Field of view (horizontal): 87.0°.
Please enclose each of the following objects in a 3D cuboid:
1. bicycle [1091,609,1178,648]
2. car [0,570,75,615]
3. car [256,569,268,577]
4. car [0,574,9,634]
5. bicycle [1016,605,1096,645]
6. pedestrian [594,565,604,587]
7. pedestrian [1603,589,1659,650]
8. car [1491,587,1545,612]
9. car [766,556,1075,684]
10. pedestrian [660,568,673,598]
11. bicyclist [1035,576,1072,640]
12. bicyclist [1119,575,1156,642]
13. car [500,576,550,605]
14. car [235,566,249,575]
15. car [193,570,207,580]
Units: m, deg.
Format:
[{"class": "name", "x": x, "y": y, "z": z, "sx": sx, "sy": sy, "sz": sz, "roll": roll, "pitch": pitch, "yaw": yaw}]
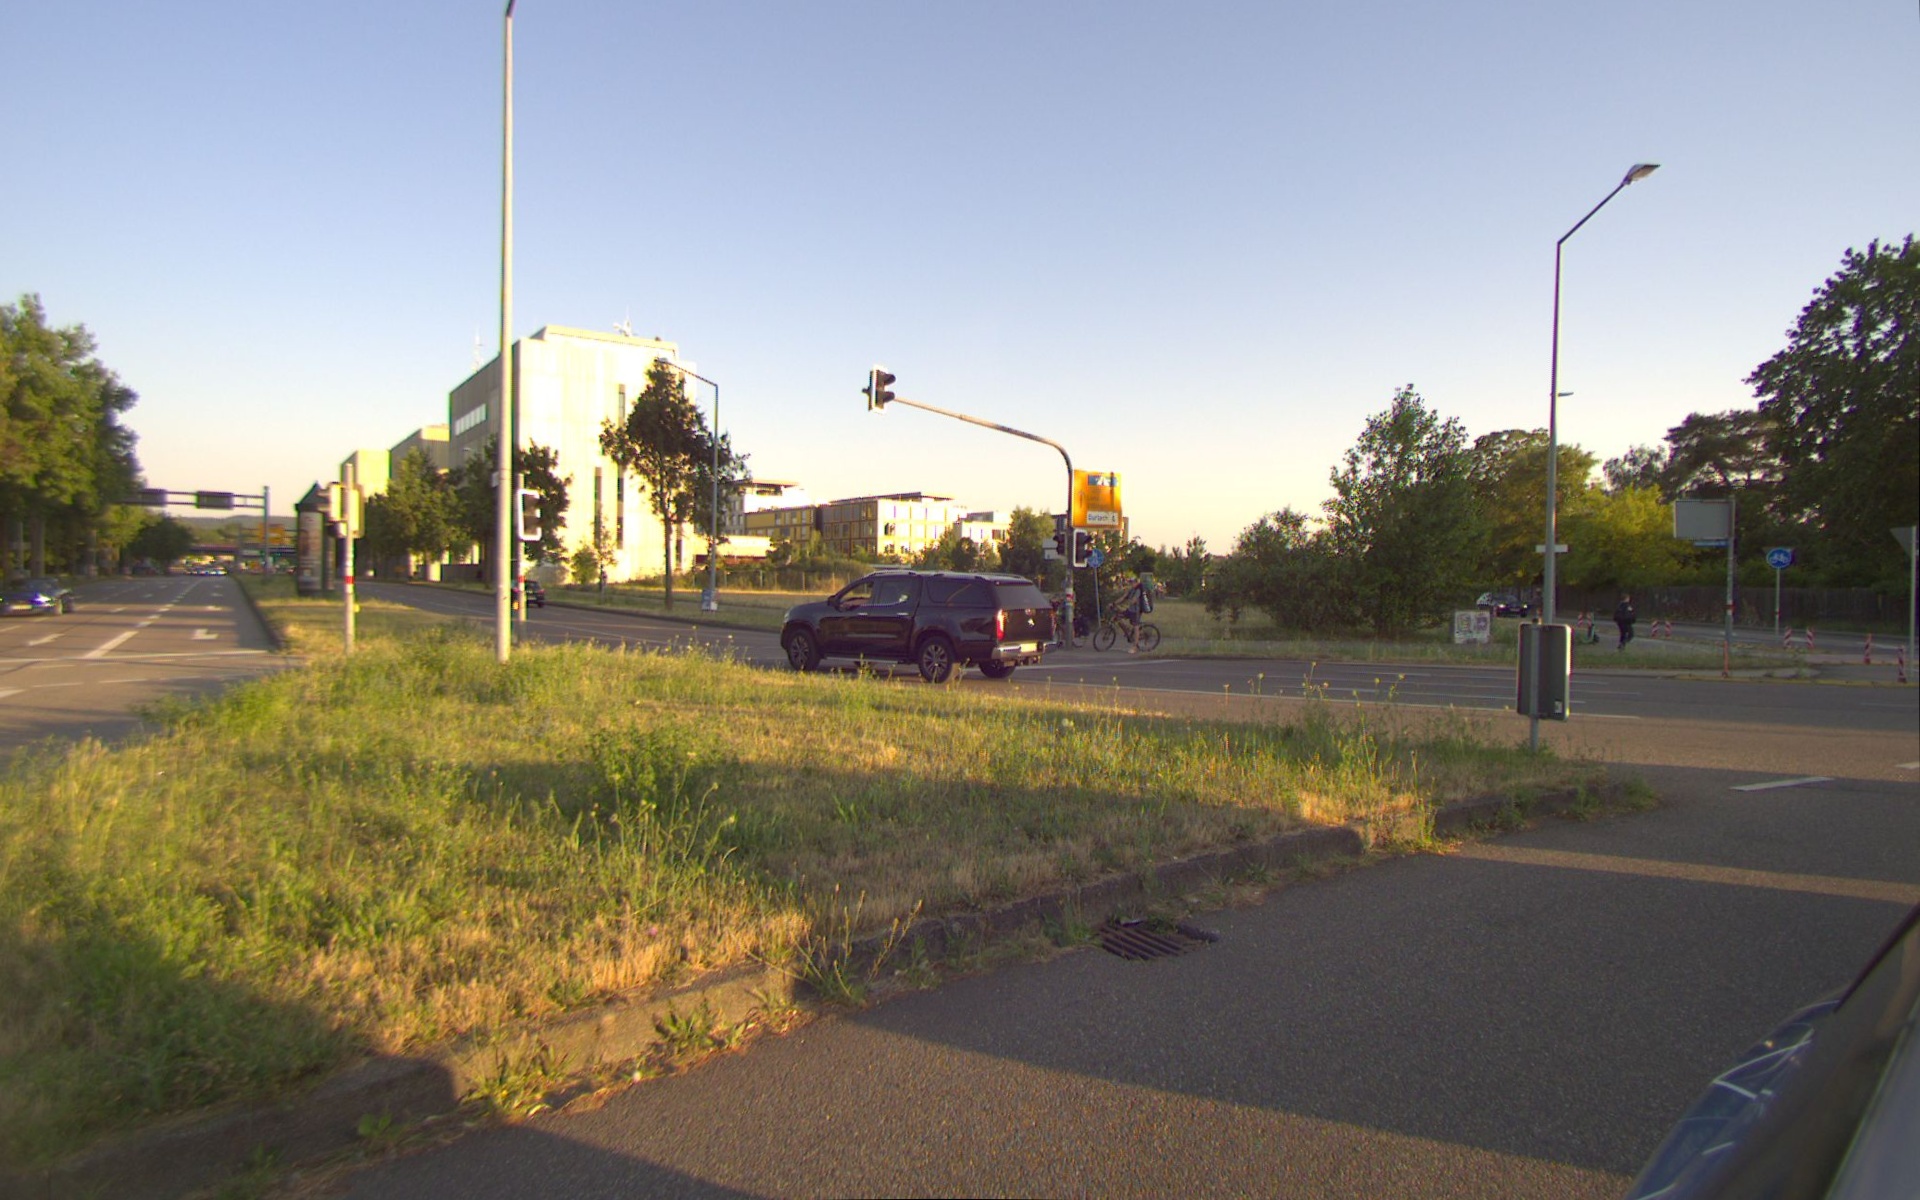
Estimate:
[{"class": "bicycle", "x": 4.528, "y": 0.734, "z": 26.244, "sx": 2.100, "sy": 0.975, "sz": 0.711, "roll": 1, "pitch": 1, "yaw": -15}, {"class": "car", "x": -33.638, "y": -0.314, "z": 36.621, "sx": 1.963, "sy": 1.524, "sz": 4.771, "roll": 0, "pitch": 1, "yaw": -36}, {"class": "car", "x": -146.591, "y": -5.760, "z": 212.587, "sx": 1.963, "sy": 1.649, "sz": 3.998, "roll": 0, "pitch": 1, "yaw": -37}, {"class": "car", "x": -24.611, "y": 0.140, "z": 24.298, "sx": 1.962, "sy": 1.524, "sz": 4.621, "roll": 0, "pitch": 1, "yaw": -35}, {"class": "bicycle", "x": 2.601, "y": 0.662, "z": 27.349, "sx": 2.065, "sy": 0.975, "sz": 0.711, "roll": -2, "pitch": 2, "yaw": -27}, {"class": "pedestrian", "x": -24.491, "y": -1.625, "z": 68.655, "sx": 0.492, "sy": 1.531, "sz": 0.530, "roll": 0, "pitch": 1, "yaw": -35}, {"class": "pedestrian", "x": 18.447, "y": 0.513, "z": 27.842, "sx": 0.977, "sy": 1.610, "sz": 0.923, "roll": 1, "pitch": 1, "yaw": 13}, {"class": "car", "x": 34.658, "y": -0.062, "z": 62.956, "sx": 1.970, "sy": 1.504, "sz": 3.983, "roll": 1, "pitch": 1, "yaw": 14}, {"class": "car", "x": -0.807, "y": 0.227, "z": 17.355, "sx": 5.278, "sy": 1.835, "sz": 1.972, "roll": 2, "pitch": 1, "yaw": 38}, {"class": "pedestrian", "x": -16.614, "y": -0.968, "z": 57.266, "sx": 0.555, "sy": 1.705, "sz": 0.520, "roll": 0, "pitch": 1, "yaw": -35}, {"class": "bicyclist", "x": 2.515, "y": 0.211, "z": 27.331, "sx": 0.675, "sy": 1.711, "sz": 0.726, "roll": 0, "pitch": 1, "yaw": -29}, {"class": "bicyclist", "x": 4.600, "y": 0.212, "z": 26.266, "sx": 0.674, "sy": 1.711, "sz": 0.727, "roll": 1, "pitch": 1, "yaw": -13}, {"class": "car", "x": -22.830, "y": -0.498, "z": 53.025, "sx": 1.717, "sy": 1.396, "sz": 4.129, "roll": 0, "pitch": 2, "yaw": -33}, {"class": "car", "x": -135.678, "y": -5.556, "z": 191.269, "sx": 1.964, "sy": 1.649, "sz": 3.997, "roll": 0, "pitch": 1, "yaw": -38}, {"class": "car", "x": -145.471, "y": -4.733, "z": 193.614, "sx": 1.964, "sy": 1.803, "sz": 3.995, "roll": -1, "pitch": 0, "yaw": -39}]
